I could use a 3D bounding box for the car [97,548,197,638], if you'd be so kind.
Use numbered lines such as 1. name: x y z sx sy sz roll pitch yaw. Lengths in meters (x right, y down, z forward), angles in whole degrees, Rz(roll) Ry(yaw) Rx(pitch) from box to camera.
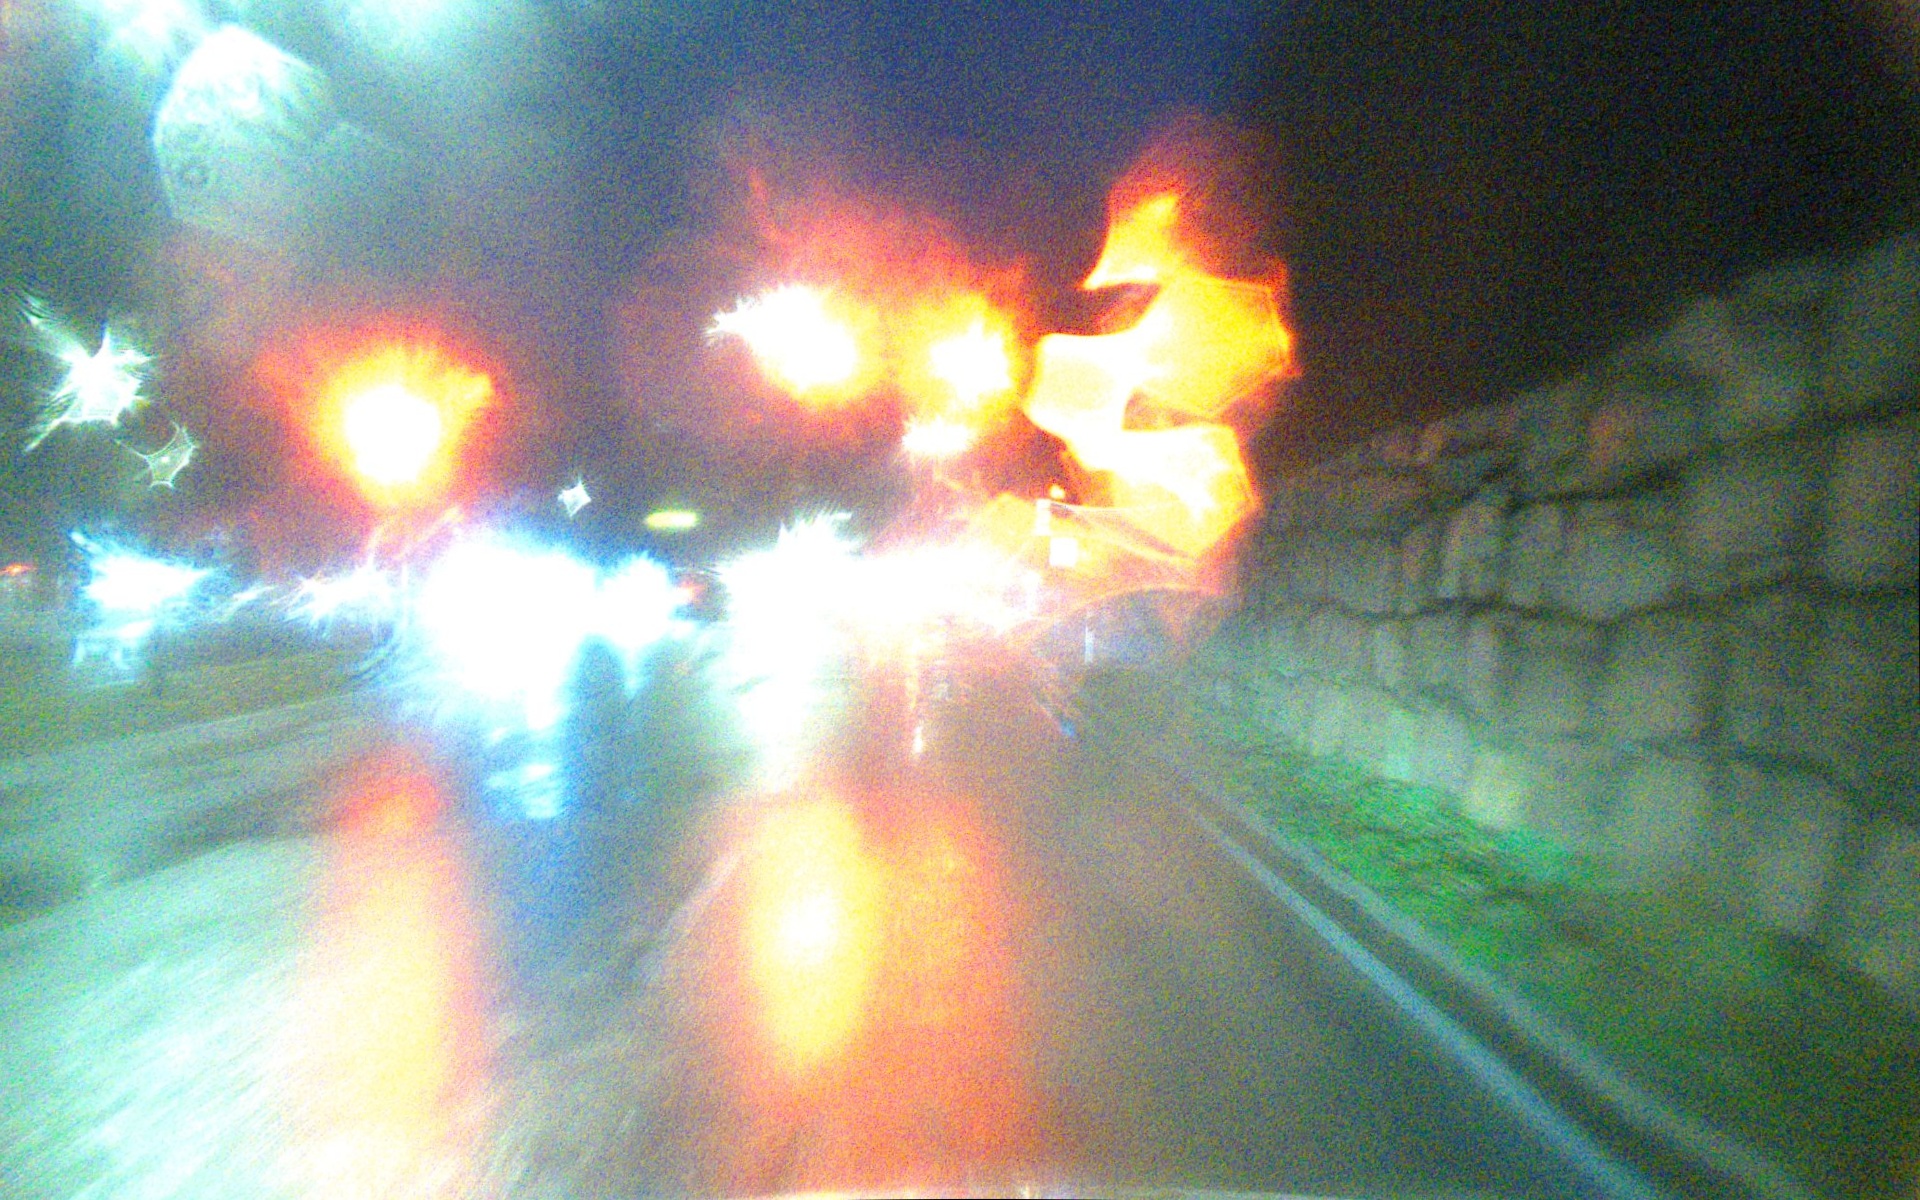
1. car: -19.620 -0.183 39.819 1.972 2.049 3.961 0 0 -29

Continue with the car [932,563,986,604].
1. car: -0.007 -0.591 60.481 1.921 1.453 3.933 0 0 1

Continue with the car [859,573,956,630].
1. car: -1.580 0.025 51.618 1.951 1.691 4.003 0 0 15

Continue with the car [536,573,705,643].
1. car: -8.419 0.174 41.271 3.910 1.691 1.998 0 0 -6
